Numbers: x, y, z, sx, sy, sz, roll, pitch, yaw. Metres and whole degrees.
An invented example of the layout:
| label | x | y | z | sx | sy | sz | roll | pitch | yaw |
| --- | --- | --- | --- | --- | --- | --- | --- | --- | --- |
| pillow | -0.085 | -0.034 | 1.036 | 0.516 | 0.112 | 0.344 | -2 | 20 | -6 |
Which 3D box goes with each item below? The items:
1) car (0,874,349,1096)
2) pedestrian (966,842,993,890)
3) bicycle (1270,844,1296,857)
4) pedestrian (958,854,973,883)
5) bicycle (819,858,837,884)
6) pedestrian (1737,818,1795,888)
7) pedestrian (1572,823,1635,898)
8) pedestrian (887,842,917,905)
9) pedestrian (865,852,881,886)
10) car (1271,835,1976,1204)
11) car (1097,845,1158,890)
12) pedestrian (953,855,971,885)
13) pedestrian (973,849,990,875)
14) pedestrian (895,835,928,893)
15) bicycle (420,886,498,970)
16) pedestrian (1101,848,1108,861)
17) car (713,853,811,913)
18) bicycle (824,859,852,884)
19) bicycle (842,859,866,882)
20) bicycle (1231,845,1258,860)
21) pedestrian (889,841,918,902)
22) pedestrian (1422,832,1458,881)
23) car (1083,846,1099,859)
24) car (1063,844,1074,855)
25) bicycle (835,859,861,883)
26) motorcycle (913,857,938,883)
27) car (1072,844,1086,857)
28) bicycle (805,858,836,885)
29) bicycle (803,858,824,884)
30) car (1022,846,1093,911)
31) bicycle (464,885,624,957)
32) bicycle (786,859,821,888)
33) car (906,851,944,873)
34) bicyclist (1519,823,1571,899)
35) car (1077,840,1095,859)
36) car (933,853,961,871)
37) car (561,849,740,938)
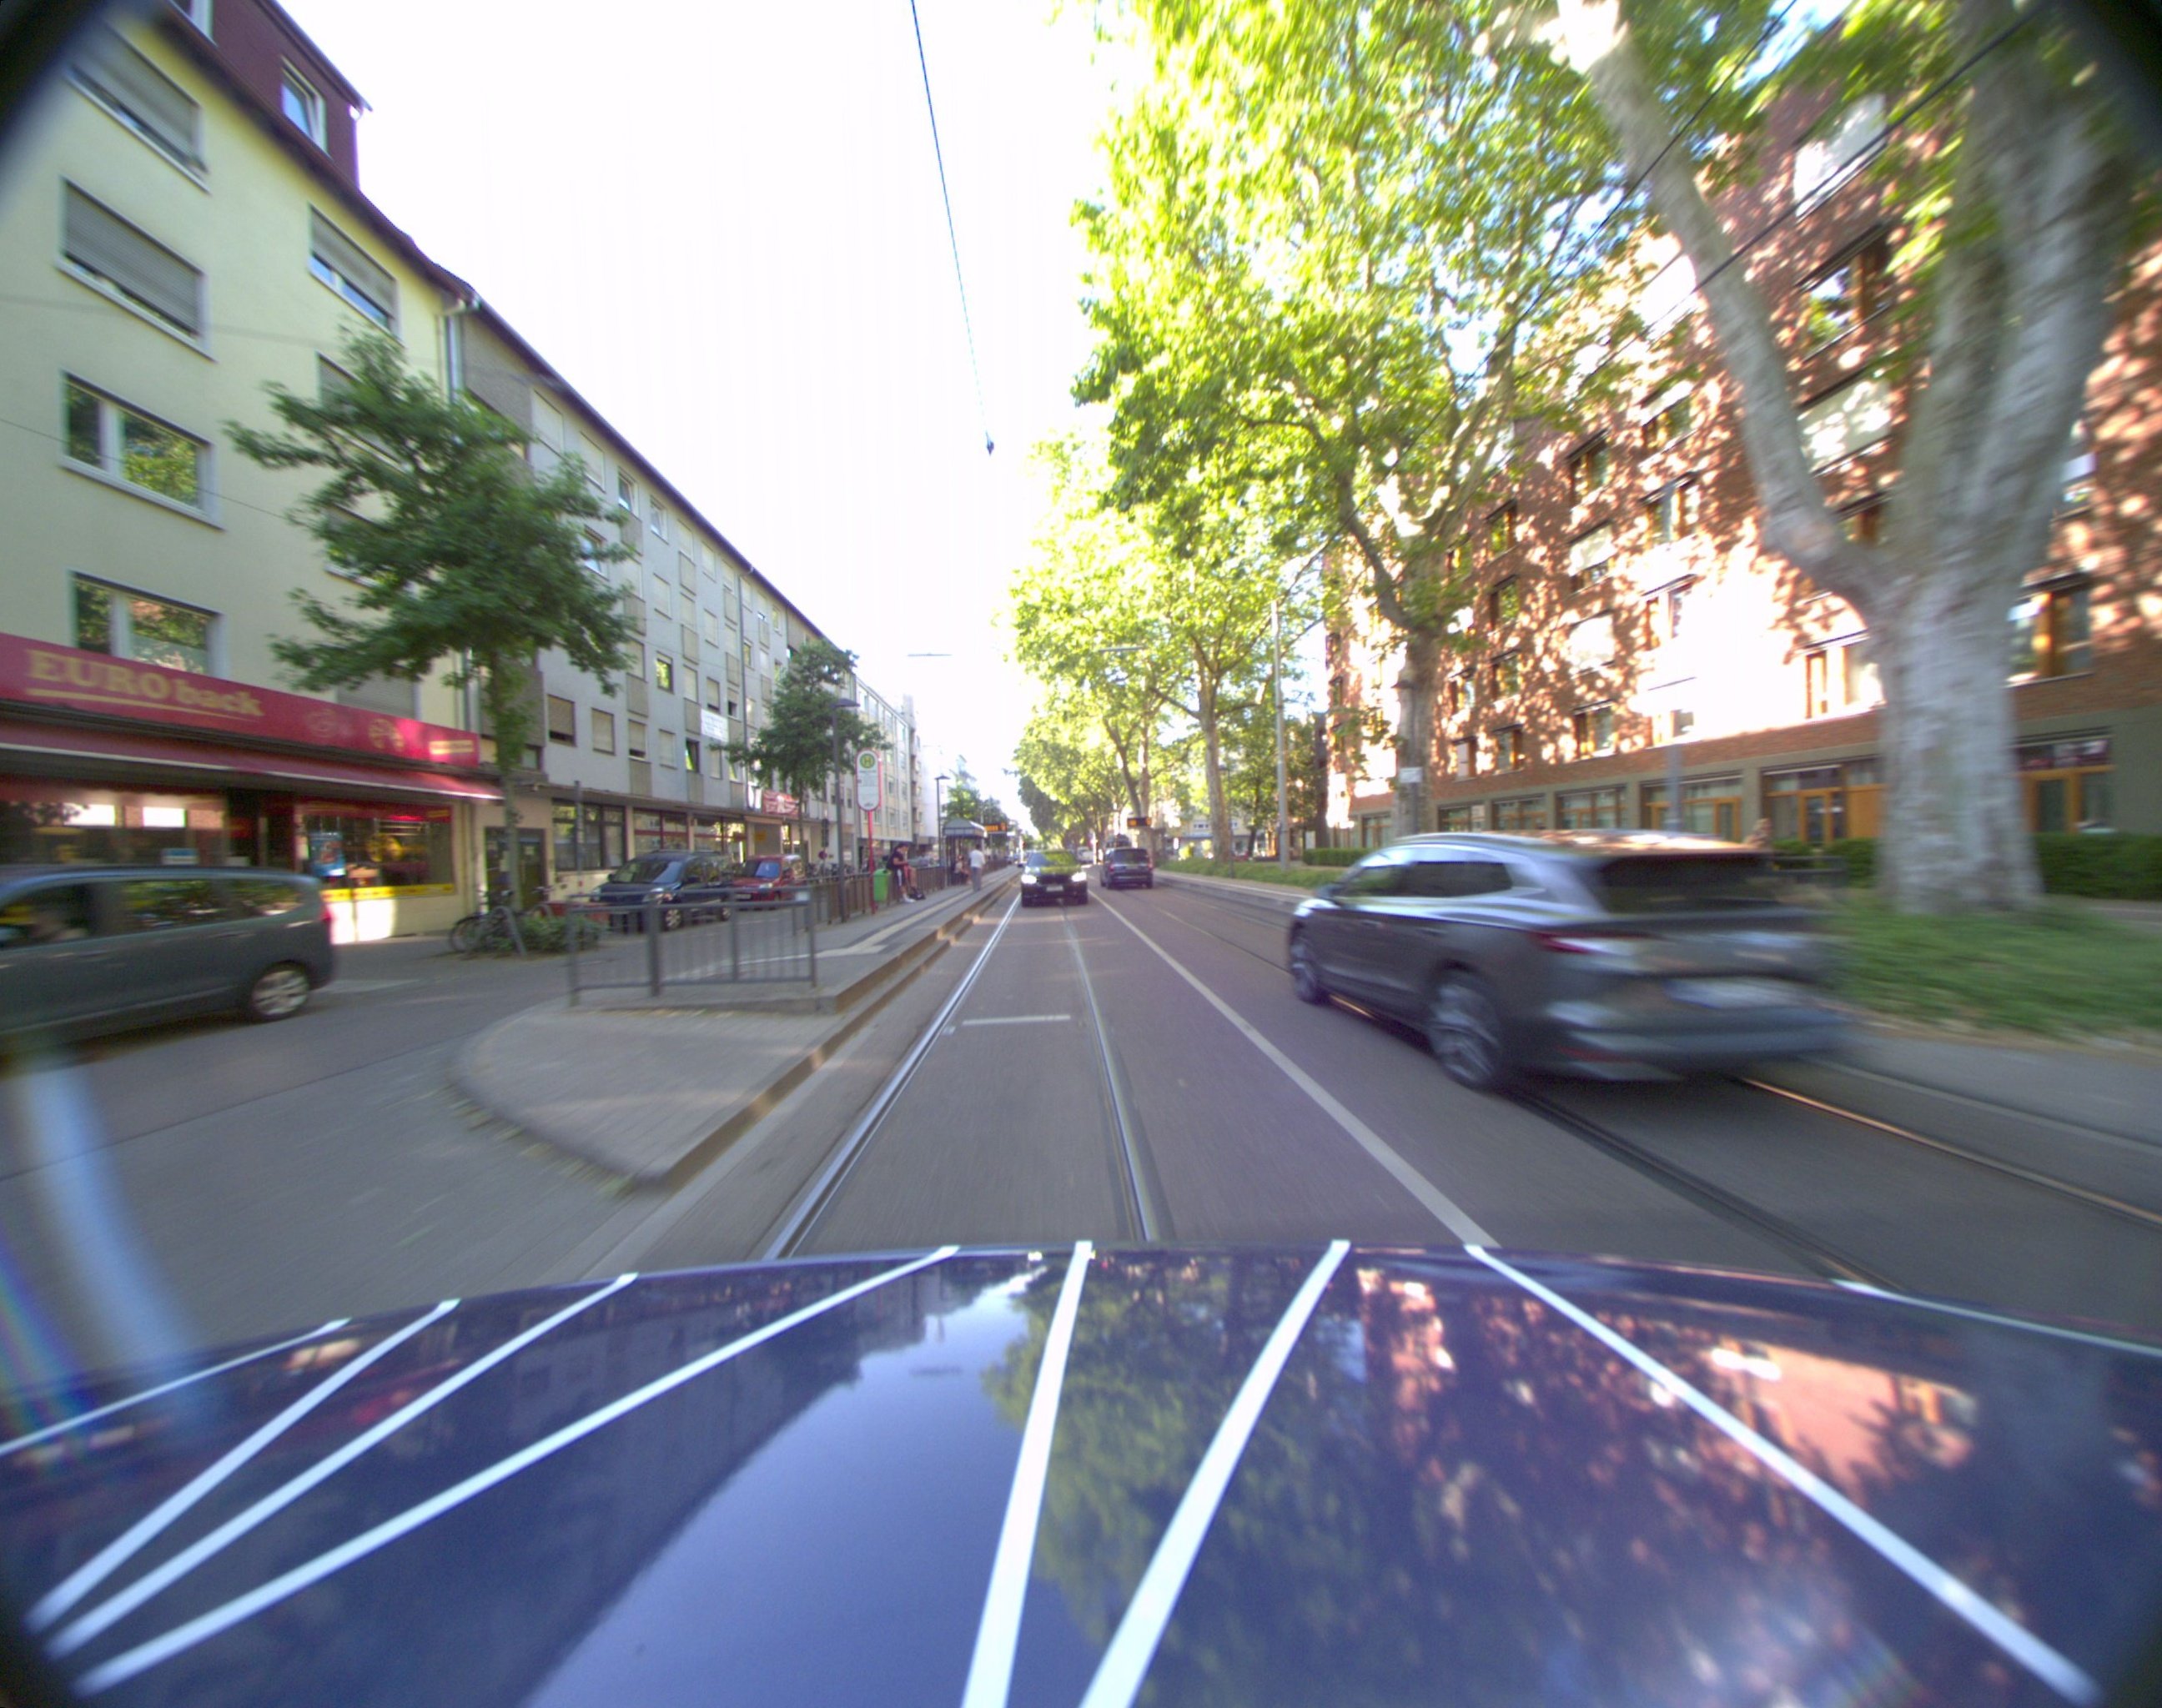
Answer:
| label | x | y | z | sx | sy | sz | roll | pitch | yaw |
| --- | --- | --- | --- | --- | --- | --- | --- | --- | --- |
| car | -9.156 | 1.045 | 6.377 | 1.767 | 1.612 | 4.441 | 0 | 0 | -1 |
| pedestrian | -3.661 | 0.421 | 27.501 | 0.836 | 1.703 | 0.640 | -3 | 1 | -1 |
| bicycle | 17.233 | -0.285 | 64.771 | 0.823 | 1.088 | 2.033 | -4 | 2 | -40 |
| pedestrian | -5.284 | 0.653 | 34.757 | 0.586 | 1.298 | 0.526 | -4 | 2 | -13 |
| bicycle | -12.502 | 0.828 | 37.515 | 0.774 | 1.173 | 2.778 | 3 | -1 | -18 |
| pedestrian | 15.932 | -0.030 | 17.683 | 0.666 | 1.564 | 0.715 | -3 | 1 | -3 |
| pedestrian | 12.156 | 0.133 | 17.693 | 0.740 | 1.663 | 0.968 | -3 | 1 | -1 |
| pedestrian | -5.120 | 0.553 | 21.756 | 0.690 | 1.745 | 0.579 | -3 | 2 | -9 |
| pedestrian | -11.426 | 0.826 | 41.751 | 0.680 | 1.795 | 0.772 | -3 | 3 | -9 |
| car | 3.059 | 0.713 | 5.632 | 1.914 | 1.628 | 4.318 | -1 | 1 | -5 |
| car | 1.920 | 0.499 | 32.894 | 1.999 | 1.706 | 5.141 | -3 | 1 | -3 |
| pedestrian | -5.365 | 0.703 | 34.247 | 0.721 | 1.318 | 0.492 | -3 | 2 | -13 |
| pedestrian | -6.064 | 0.486 | 46.279 | 0.648 | 1.567 | 0.855 | -2 | 1 | 15 |
| pedestrian | -5.171 | 0.299 | 23.192 | 0.847 | 1.691 | 0.692 | -3 | 1 | -9 |
| bicycle | -10.672 | 1.213 | 13.102 | 0.686 | 1.203 | 2.206 | -1 | 1 | -30 |
| pedestrian | 2.758 | 0.075 | 90.560 | 0.708 | 1.585 | 0.561 | -3 | 1 | -1 |
| car | -10.451 | 0.891 | 25.206 | 1.693 | 1.745 | 4.172 | 1 | 1 | -4 |
| bicycle | -12.289 | 0.860 | 38.480 | 0.773 | 1.173 | 2.781 | 3 | -1 | -7 |
| bicycle | -12.578 | 0.902 | 42.134 | 0.773 | 1.173 | 2.781 | 3 | -1 | -7 |
| bicycle | 13.950 | -0.098 | 64.804 | 2.098 | 1.182 | 0.881 | -3 | 1 | 14 |
| pedestrian | -5.237 | 0.509 | 22.474 | 0.493 | 1.760 | 0.704 | -3 | 2 | 12 |
| pedestrian | 13.352 | 0.080 | 28.278 | 0.766 | 1.734 | 0.972 | -3 | 1 | -2 |
| car | 1.499 | -0.256 | 114.661 | 2.041 | 1.881 | 5.070 | -4 | 1 | -3 |
| car | -2.746 | -1.087 | 171.499 | 2.143 | 2.275 | 4.963 | -4 | 1 | -3 |
| bicycle | -12.256 | 0.900 | 40.055 | 0.773 | 1.173 | 2.781 | 3 | -1 | -7 |
| motorcycle | -9.420 | 0.938 | 46.197 | 1.055 | 1.446 | 2.207 | -3 | 1 | -2 |
| car | -0.418 | -0.735 | 142.748 | 2.143 | 2.275 | 4.963 | -4 | 1 | -3 |
| bicycle | -12.427 | 0.818 | 36.307 | 0.773 | 1.173 | 2.781 | 3 | -1 | -7 |
| bicycle | -12.976 | 0.802 | 36.931 | 0.774 | 1.173 | 2.779 | 3 | -1 | -17 |
| car | -0.816 | 0.674 | 24.247 | 1.938 | 1.719 | 5.070 | -4 | 1 | -3 |
| bicycle | -9.922 | 1.218 | 14.124 | 2.210 | 1.203 | 1.029 | 0 | 1 | -2 |
| bicycle | -12.276 | 0.837 | 33.696 | 0.773 | 1.173 | 2.781 | 2 | 1 | -7 |
| car | -12.126 | 0.579 | 59.394 | 1.958 | 1.474 | 4.659 | -4 | 1 | 0 |
| bicyclist | 11.223 | 0.156 | 18.403 | 0.701 | 1.778 | 0.838 | -3 | 1 | -1 |
| car | 0.766 | -0.781 | 124.806 | 2.429 | 2.833 | 5.070 | -4 | 1 | -3 |
| car | -12.306 | 0.738 | 69.965 | 1.899 | 1.477 | 3.998 | -3 | 1 | -2 |
| car | -10.265 | 0.847 | 18.570 | 1.999 | 1.885 | 4.193 | 1 | 1 | -1 |
